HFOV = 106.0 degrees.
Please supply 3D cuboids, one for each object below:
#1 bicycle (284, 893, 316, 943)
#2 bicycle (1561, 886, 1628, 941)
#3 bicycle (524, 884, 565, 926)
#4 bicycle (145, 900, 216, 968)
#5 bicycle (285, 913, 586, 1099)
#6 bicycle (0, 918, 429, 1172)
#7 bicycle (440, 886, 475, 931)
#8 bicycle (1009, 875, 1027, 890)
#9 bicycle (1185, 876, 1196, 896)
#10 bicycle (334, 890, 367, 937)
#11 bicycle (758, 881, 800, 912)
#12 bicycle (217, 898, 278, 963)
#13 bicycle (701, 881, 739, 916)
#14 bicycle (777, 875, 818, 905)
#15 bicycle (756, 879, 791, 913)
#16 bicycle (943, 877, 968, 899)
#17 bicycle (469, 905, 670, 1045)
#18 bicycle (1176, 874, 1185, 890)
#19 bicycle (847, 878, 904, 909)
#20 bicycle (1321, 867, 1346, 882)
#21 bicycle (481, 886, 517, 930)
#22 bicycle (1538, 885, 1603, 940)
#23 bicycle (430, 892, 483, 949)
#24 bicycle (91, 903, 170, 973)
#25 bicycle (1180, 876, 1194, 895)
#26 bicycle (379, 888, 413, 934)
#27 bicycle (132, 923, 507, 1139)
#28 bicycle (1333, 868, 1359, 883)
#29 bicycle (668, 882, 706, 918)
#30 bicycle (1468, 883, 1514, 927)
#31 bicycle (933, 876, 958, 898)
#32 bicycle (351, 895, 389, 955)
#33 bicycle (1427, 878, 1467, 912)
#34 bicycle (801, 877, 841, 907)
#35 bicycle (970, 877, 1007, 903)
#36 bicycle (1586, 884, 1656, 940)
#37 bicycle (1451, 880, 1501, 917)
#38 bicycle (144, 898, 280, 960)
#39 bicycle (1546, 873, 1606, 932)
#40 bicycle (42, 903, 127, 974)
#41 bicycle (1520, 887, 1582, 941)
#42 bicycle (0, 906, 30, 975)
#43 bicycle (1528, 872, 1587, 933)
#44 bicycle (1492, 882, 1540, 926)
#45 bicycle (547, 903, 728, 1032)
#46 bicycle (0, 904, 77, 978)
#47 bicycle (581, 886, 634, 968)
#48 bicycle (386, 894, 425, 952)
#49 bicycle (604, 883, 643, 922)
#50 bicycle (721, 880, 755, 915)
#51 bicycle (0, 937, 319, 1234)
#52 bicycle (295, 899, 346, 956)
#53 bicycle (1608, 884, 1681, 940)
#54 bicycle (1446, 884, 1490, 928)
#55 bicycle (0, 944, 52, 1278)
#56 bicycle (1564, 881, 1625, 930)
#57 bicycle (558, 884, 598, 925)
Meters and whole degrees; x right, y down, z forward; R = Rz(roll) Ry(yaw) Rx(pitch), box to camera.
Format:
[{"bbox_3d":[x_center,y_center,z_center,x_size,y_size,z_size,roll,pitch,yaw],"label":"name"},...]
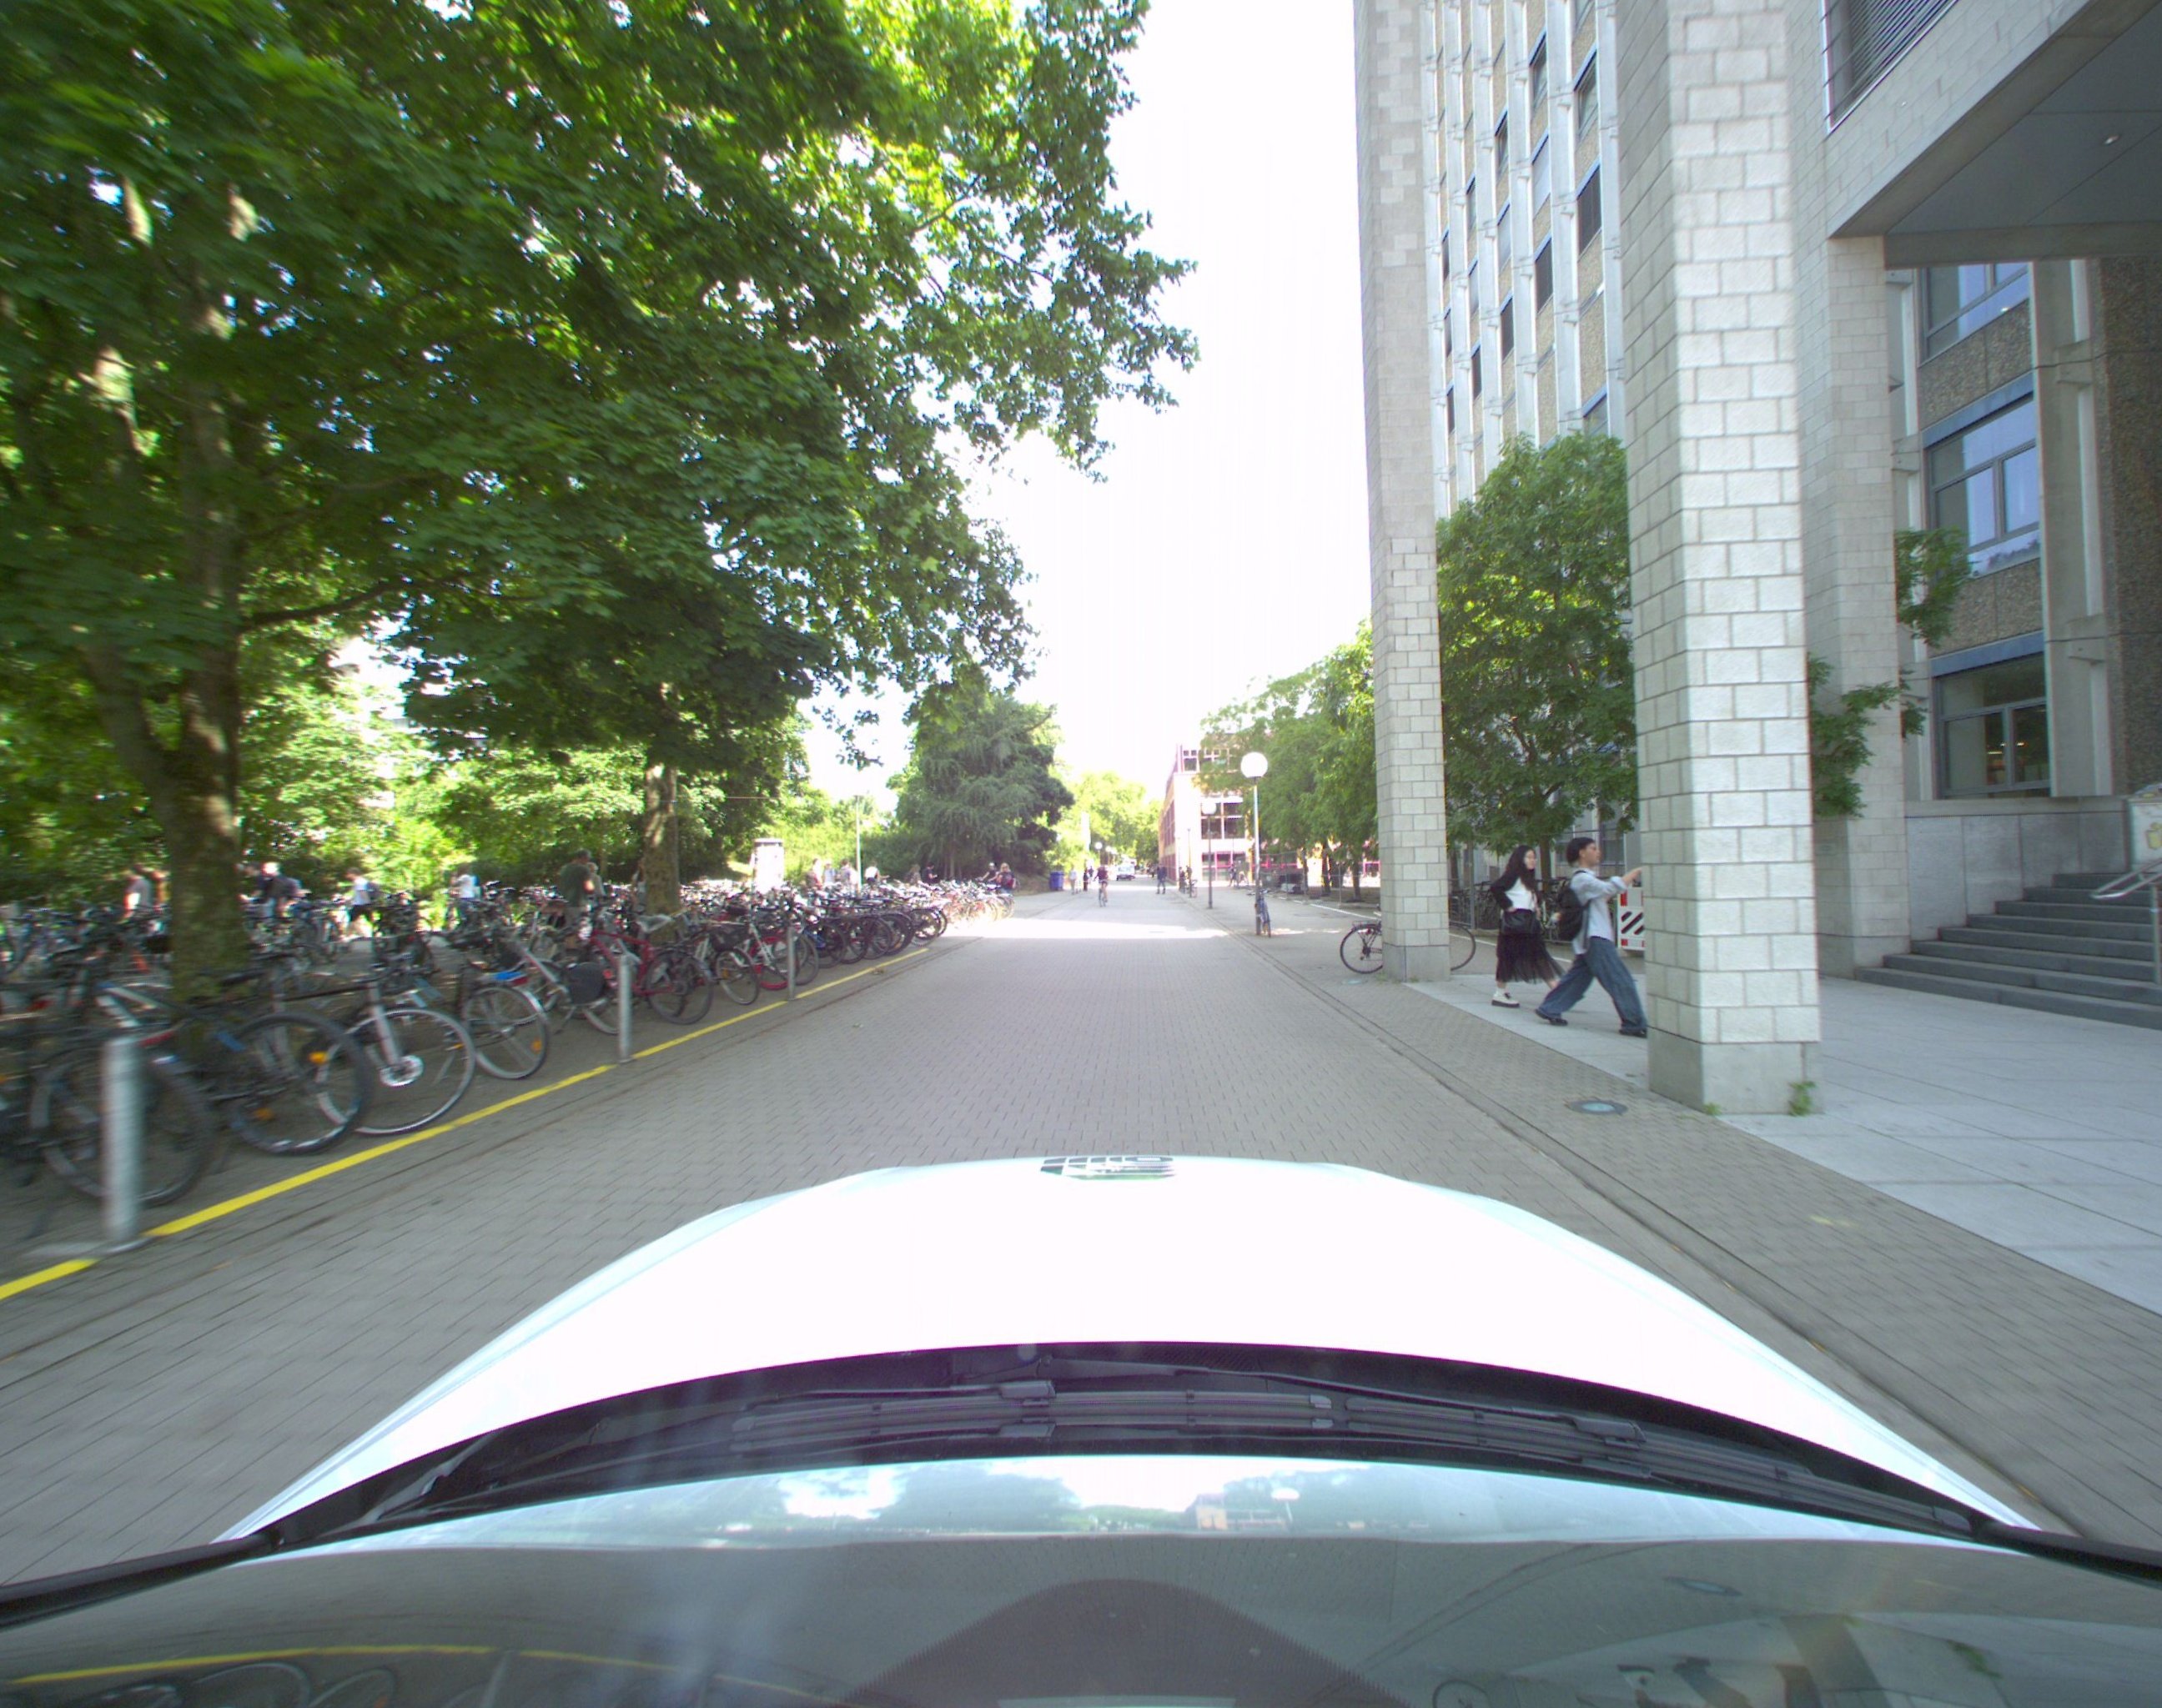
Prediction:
[{"bbox_3d":[-18.830,1.513,19.633,0.520,1.110,1.756,1,-2,-44],"label":"bicycle"},{"bbox_3d":[9.228,1.046,14.687,0.289,0.905,1.448,-1,-1,0],"label":"bicycle"},{"bbox_3d":[-15.088,1.419,22.892,1.755,1.110,0.520,-2,-2,42],"label":"bicycle"},{"bbox_3d":[-15.890,1.376,14.400,0.476,1.083,1.681,0,-2,-35],"label":"bicycle"},{"bbox_3d":[-4.430,0.988,5.629,1.709,1.108,0.722,-1,-1,14],"label":"bicycle"},{"bbox_3d":[-4.450,0.933,4.172,1.774,1.162,0.496,-1,-1,-2],"label":"bicycle"},{"bbox_3d":[-16.470,1.419,21.497,0.520,1.110,1.756,1,-2,-44],"label":"bicycle"},{"bbox_3d":[-3.847,1.733,49.816,0.418,0.910,1.748,-1,-3,19],"label":"bicycle"},{"bbox_3d":[5.677,1.649,42.168,0.394,0.936,1.733,-3,-1,3],"label":"bicycle"},{"bbox_3d":[-18.277,1.460,20.368,0.520,1.110,1.756,1,-2,-44],"label":"bicycle"},{"bbox_3d":[-11.176,1.576,30.138,1.755,1.110,0.477,-1,-2,32],"label":"bicycle"},{"bbox_3d":[-15.286,1.369,14.962,0.476,1.083,1.681,0,-2,-35],"label":"bicycle"},{"bbox_3d":[-11.744,1.426,26.480,1.755,1.110,0.477,-2,-2,42],"label":"bicycle"},{"bbox_3d":[-10.777,1.364,30.937,1.755,1.110,0.477,-1,-2,32],"label":"bicycle"},{"bbox_3d":[-10.392,1.389,27.468,0.477,1.110,1.756,1,-2,-43],"label":"bicycle"},{"bbox_3d":[-6.164,1.663,39.929,0.476,1.047,1.680,2,-1,-37],"label":"bicycle"},{"bbox_3d":[-4.478,1.015,7.140,1.611,1.108,0.565,-1,-1,17],"label":"bicycle"},{"bbox_3d":[6.543,1.831,53.460,0.449,0.962,1.741,-4,-1,3],"label":"bicycle"},{"bbox_3d":[-7.200,1.386,28.521,1.906,1.047,0.539,0,-3,-16],"label":"bicycle"},{"bbox_3d":[19.189,1.537,61.902,1.799,1.110,0.525,0,-1,7],"label":"bicycle"},{"bbox_3d":[-15.809,1.446,22.116,0.520,1.110,1.756,1,-2,-44],"label":"bicycle"},{"bbox_3d":[8.889,1.050,14.842,0.289,0.905,1.448,-1,-1,0],"label":"bicycle"},{"bbox_3d":[-12.876,1.345,16.782,1.677,1.083,0.477,-1,-2,39],"label":"bicycle"},{"bbox_3d":[-16.400,1.418,14.086,0.476,1.083,1.681,0,-2,-35],"label":"bicycle"},{"bbox_3d":[6.270,1.840,48.209,0.705,1.093,1.750,-1,-1,3],"label":"bicycle"},{"bbox_3d":[-17.559,1.431,20.854,0.520,1.110,1.756,1,-2,-44],"label":"bicycle"},{"bbox_3d":[-4.291,0.974,4.660,1.620,1.108,0.496,-1,-1,-2],"label":"bicycle"},{"bbox_3d":[19.275,1.555,59.247,1.685,1.110,0.475,0,-1,7],"label":"bicycle"},{"bbox_3d":[-12.591,1.444,25.991,1.755,1.110,0.477,-2,-2,42],"label":"bicycle"},{"bbox_3d":[9.219,1.131,18.364,0.289,0.905,1.448,-1,-1,0],"label":"bicycle"},{"bbox_3d":[-6.596,1.601,39.468,0.476,1.047,1.680,0,-2,-37],"label":"bicycle"},{"bbox_3d":[-13.986,1.363,16.011,0.477,1.083,1.679,1,-2,-44],"label":"bicycle"},{"bbox_3d":[10.531,1.168,23.462,0.290,0.905,1.616,-1,-1,-4],"label":"bicycle"},{"bbox_3d":[-10.168,1.475,31.809,1.755,1.110,0.477,-1,-2,32],"label":"bicycle"},{"bbox_3d":[-4.055,1.577,35.788,0.468,1.110,1.856,-2,-2,37],"label":"bicycle"},{"bbox_3d":[9.685,1.021,14.647,0.289,0.905,1.448,-1,-1,0],"label":"bicycle"},{"bbox_3d":[10.308,1.144,21.333,0.290,0.905,1.802,-1,-1,-4],"label":"bicycle"},{"bbox_3d":[-16.761,1.425,15.769,1.707,1.083,0.597,0,-2,-37],"label":"bicycle"},{"bbox_3d":[9.829,0.933,16.208,0.289,1.094,1.448,-1,-1,0],"label":"bicycle"},{"bbox_3d":[-17.067,1.418,13.985,0.476,1.083,1.681,0,-2,-35],"label":"bicycle"},{"bbox_3d":[8.554,1.071,14.869,0.289,0.905,1.448,-1,-1,0],"label":"bicycle"},{"bbox_3d":[-17.646,1.404,13.066,0.476,1.083,1.681,0,-2,-35],"label":"bicycle"},{"bbox_3d":[9.436,0.931,16.177,0.289,1.128,1.448,-1,-1,0],"label":"bicycle"},{"bbox_3d":[9.821,1.111,18.424,0.289,0.905,1.448,-1,-1,0],"label":"bicycle"},{"bbox_3d":[-4.168,1.031,7.660,1.611,1.108,0.499,-1,-1,17],"label":"bicycle"},{"bbox_3d":[-17.259,1.406,13.399,0.476,1.083,1.681,0,-2,-35],"label":"bicycle"},{"bbox_3d":[-7.663,1.139,13.161,0.578,1.200,1.681,0,-2,-36],"label":"bicycle"},{"bbox_3d":[-13.560,1.356,16.329,0.477,1.083,1.679,1,-2,-44],"label":"bicycle"},{"bbox_3d":[-13.643,1.418,24.262,1.755,1.110,0.477,-2,-2,42],"label":"bicycle"},{"bbox_3d":[-11.297,1.408,26.818,0.477,1.110,1.756,1,-2,-43],"label":"bicycle"},{"bbox_3d":[-4.445,0.951,3.535,1.620,1.108,0.644,-1,-1,-2],"label":"bicycle"},{"bbox_3d":[-14.267,1.355,15.309,0.454,0.962,1.721,0,-1,-35],"label":"bicycle"},{"bbox_3d":[10.091,1.014,14.634,0.289,0.905,1.448,-1,-1,0],"label":"bicycle"},{"bbox_3d":[8.680,1.140,18.299,0.289,0.905,1.448,-1,-1,0],"label":"bicycle"},{"bbox_3d":[-4.598,0.911,2.773,1.617,1.151,0.497,-1,-1,3],"label":"bicycle"},{"bbox_3d":[10.178,1.010,16.196,0.289,0.887,1.448,-1,-1,0],"label":"bicycle"},{"bbox_3d":[-14.622,1.448,23.642,1.755,1.110,0.520,-2,-2,42],"label":"bicycle"}]
